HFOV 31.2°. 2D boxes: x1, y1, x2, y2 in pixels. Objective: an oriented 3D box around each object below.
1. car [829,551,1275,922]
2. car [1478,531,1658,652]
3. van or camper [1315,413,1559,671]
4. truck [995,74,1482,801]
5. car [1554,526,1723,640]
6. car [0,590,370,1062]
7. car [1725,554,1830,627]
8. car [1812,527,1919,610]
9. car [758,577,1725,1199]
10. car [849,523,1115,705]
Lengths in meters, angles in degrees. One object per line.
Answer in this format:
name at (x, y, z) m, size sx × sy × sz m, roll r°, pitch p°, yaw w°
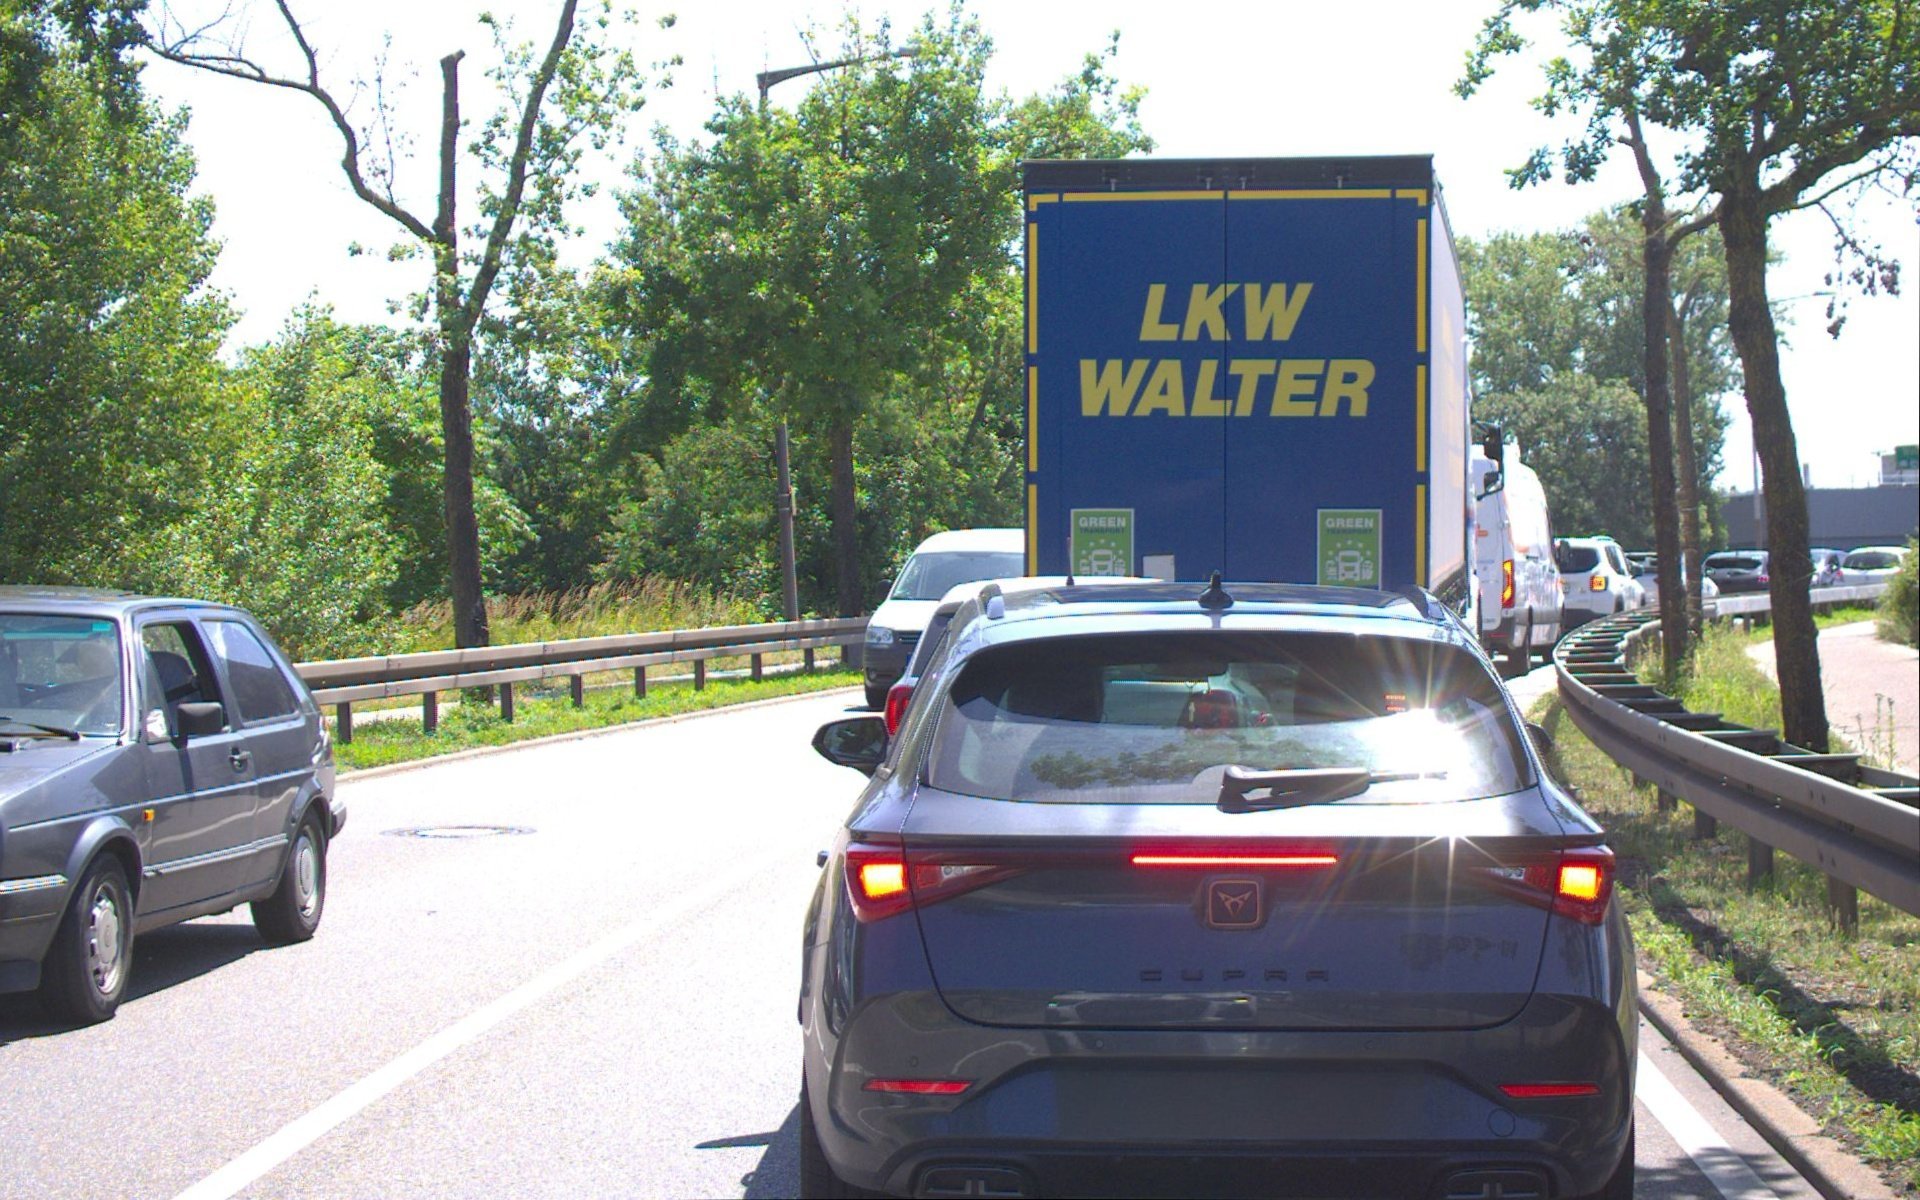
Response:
car at (0.396, 0.533, 16.020) m, size 1.809 × 1.503 × 4.000 m, roll 0°, pitch 1°, yaw 1°
car at (9.079, -0.150, 51.078) m, size 1.995 × 1.706 × 4.616 m, roll 1°, pitch 1°, yaw 18°
van or camper at (6.068, -0.710, 43.019) m, size 2.468 × 2.988 × 6.083 m, roll 1°, pitch 1°, yaw 13°
truck at (2.958, -1.091, 29.487) m, size 2.951 × 4.433 × 16.792 m, roll 0°, pitch 1°, yaw 9°
car at (11.380, -0.299, 57.416) m, size 1.996 × 1.802 × 4.840 m, roll 1°, pitch 1°, yaw 21°
car at (-3.404, 0.670, 12.278) m, size 1.557 × 1.367 × 3.888 m, roll 0°, pitch 1°, yaw 6°
car at (20.238, -0.250, 84.981) m, size 1.748 × 1.757 × 4.431 m, roll 1°, pitch 1°, yaw 24°
car at (20.468, -0.681, 77.002) m, size 1.996 × 1.762 × 4.749 m, roll 1°, pitch 0°, yaw 22°
car at (0.488, 0.676, 8.165) m, size 1.744 × 1.427 × 3.880 m, roll 0°, pitch 1°, yaw -1°
car at (0.300, 0.107, 35.612) m, size 1.747 × 1.757 × 4.386 m, roll 1°, pitch 1°, yaw 14°
